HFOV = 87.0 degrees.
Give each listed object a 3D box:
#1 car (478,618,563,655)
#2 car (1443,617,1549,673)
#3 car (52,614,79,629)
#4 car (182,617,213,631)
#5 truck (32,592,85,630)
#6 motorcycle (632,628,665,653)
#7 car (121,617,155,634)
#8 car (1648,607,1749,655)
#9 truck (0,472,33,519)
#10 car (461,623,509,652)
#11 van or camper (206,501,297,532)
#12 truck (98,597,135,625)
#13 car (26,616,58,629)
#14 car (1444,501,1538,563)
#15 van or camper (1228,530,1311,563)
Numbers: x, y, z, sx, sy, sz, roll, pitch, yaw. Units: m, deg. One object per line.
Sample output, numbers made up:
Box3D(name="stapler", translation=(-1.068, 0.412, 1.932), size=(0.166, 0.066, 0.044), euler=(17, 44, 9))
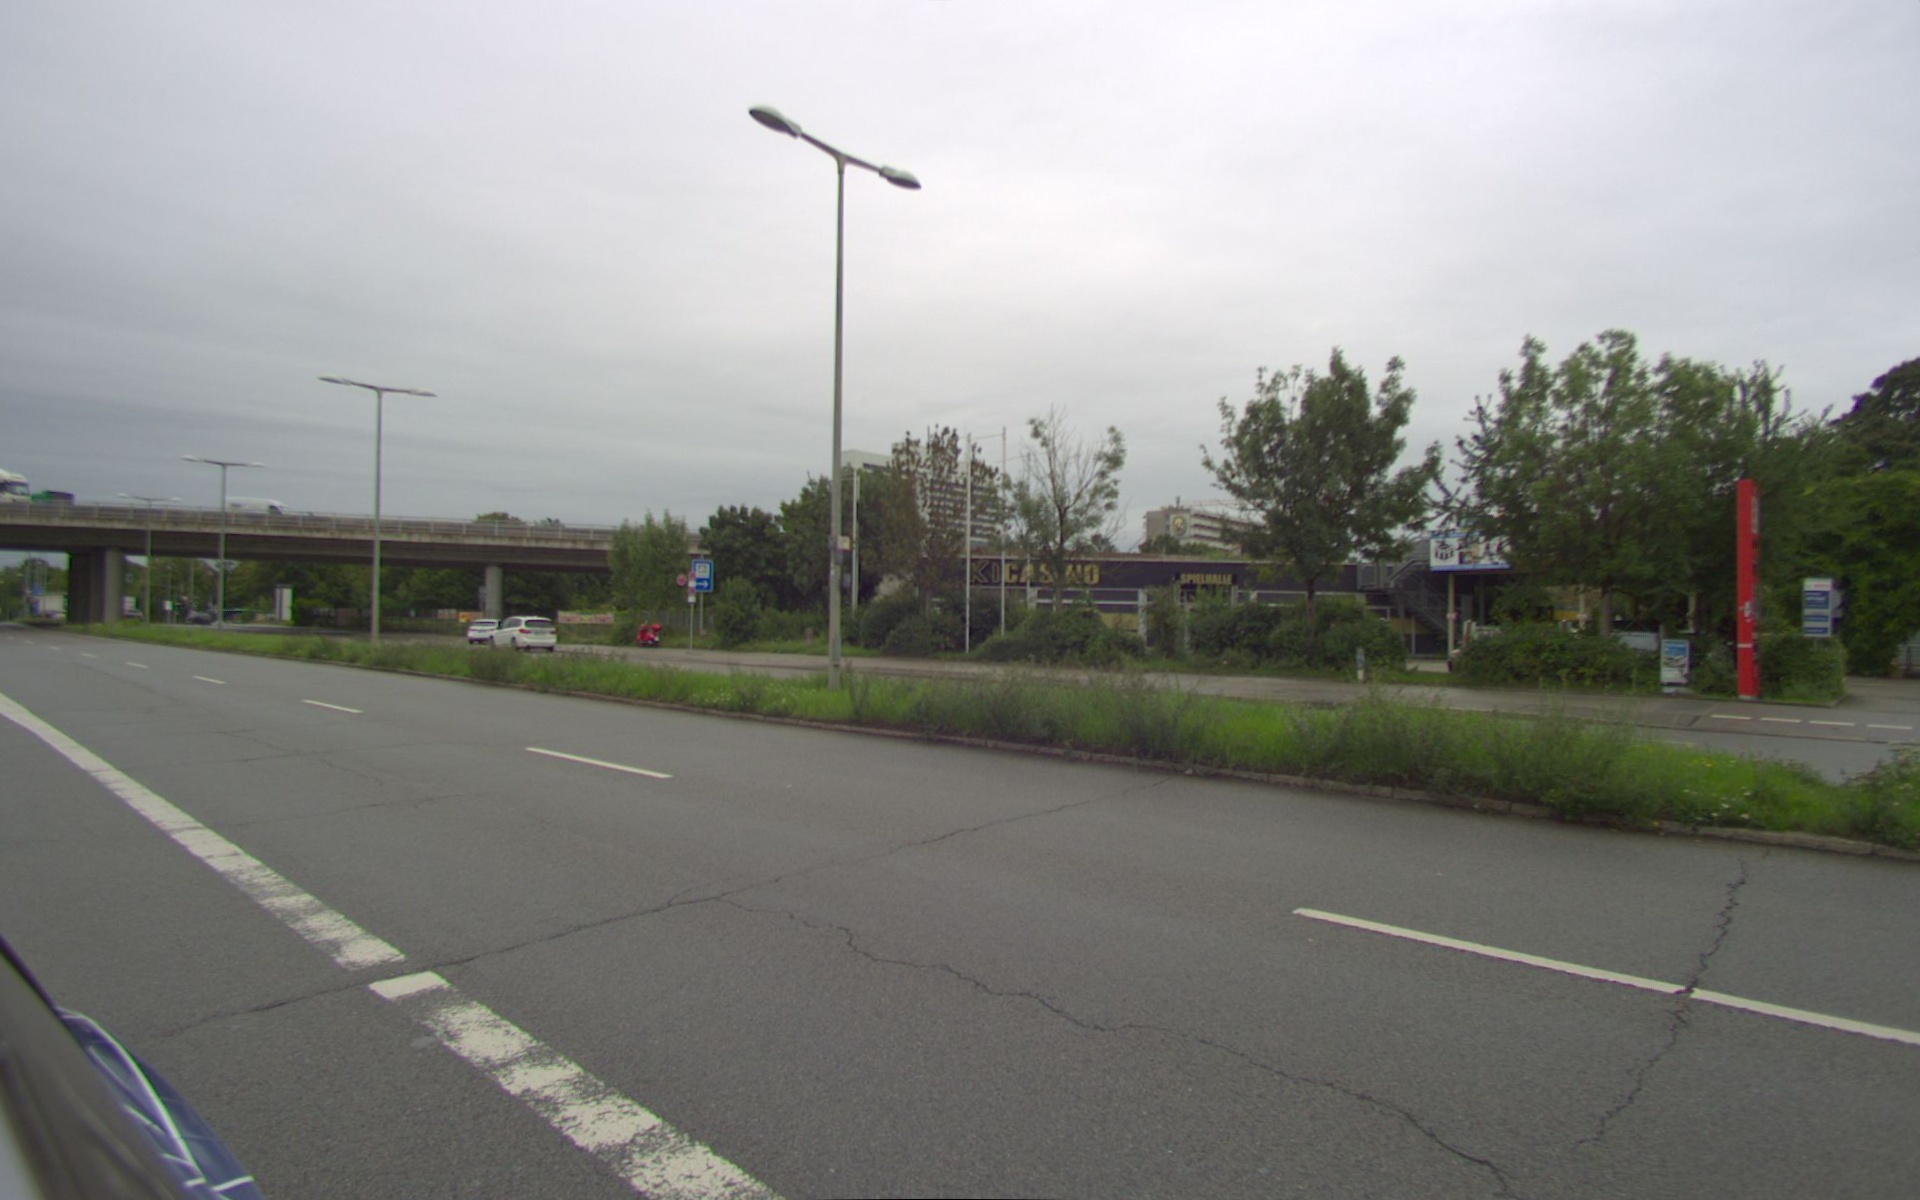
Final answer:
Box3D(name="car", translation=(-20.311, 1.671, 46.695), size=(4.576, 1.584, 1.971), euler=(0, -2, 44))
Box3D(name="car", translation=(15.114, 1.220, 28.448), size=(1.868, 1.431, 3.947), euler=(-1, -1, 39))
Box3D(name="car", translation=(-110.204, 2.650, 124.735), size=(4.591, 1.595, 1.947), euler=(1, -3, 43))
Box3D(name="car", translation=(-82.850, 2.609, 109.961), size=(1.946, 1.407, 4.820), euler=(4, -2, -45))
Box3D(name="truck", translation=(-121.262, 1.443, 136.073), size=(9.577, 4.626, 2.767), euler=(1, -3, 34))
Box3D(name="motorcycle", translation=(-15.461, 2.000, 50.151), size=(2.196, 1.185, 0.527), euler=(0, -2, 44))
Box3D(name="car", translation=(-85.215, 2.660, 104.902), size=(4.590, 1.595, 1.948), euler=(1, -3, 42))
Box3D(name="car", translation=(24.675, 0.991, 33.771), size=(3.937, 1.479, 1.866), euler=(1, 0, -41))
Box3D(name="truck", translation=(-74.295, -8.029, 76.803), size=(5.113, 3.270, 2.601), euler=(3, 0, -7))
Box3D(name="car", translation=(-28.471, 2.211, 60.802), size=(1.966, 1.584, 5.135), euler=(2, -1, -18))
Box3D(name="van or camper", translation=(-55.736, -6.543, 79.703), size=(5.421, 2.029, 2.335), euler=(2, -1, -7))
Box3D(name="truck", translation=(-94.968, 1.187, 113.906), size=(7.234, 3.000, 2.228), euler=(0, -4, 43))
Box3D(name="car", translation=(-117.677, 2.872, 129.705), size=(4.576, 1.595, 1.953), euler=(-1, -2, 33))
Box3D(name="car", translation=(22.184, -2.792, 42.173), size=(2.136, 2.029, 4.728), euler=(3, -1, 45))
Box3D(name="van or camper", translation=(25.536, -4.360, 83.638), size=(5.952, 2.262, 2.647), euler=(3, -1, -4))
